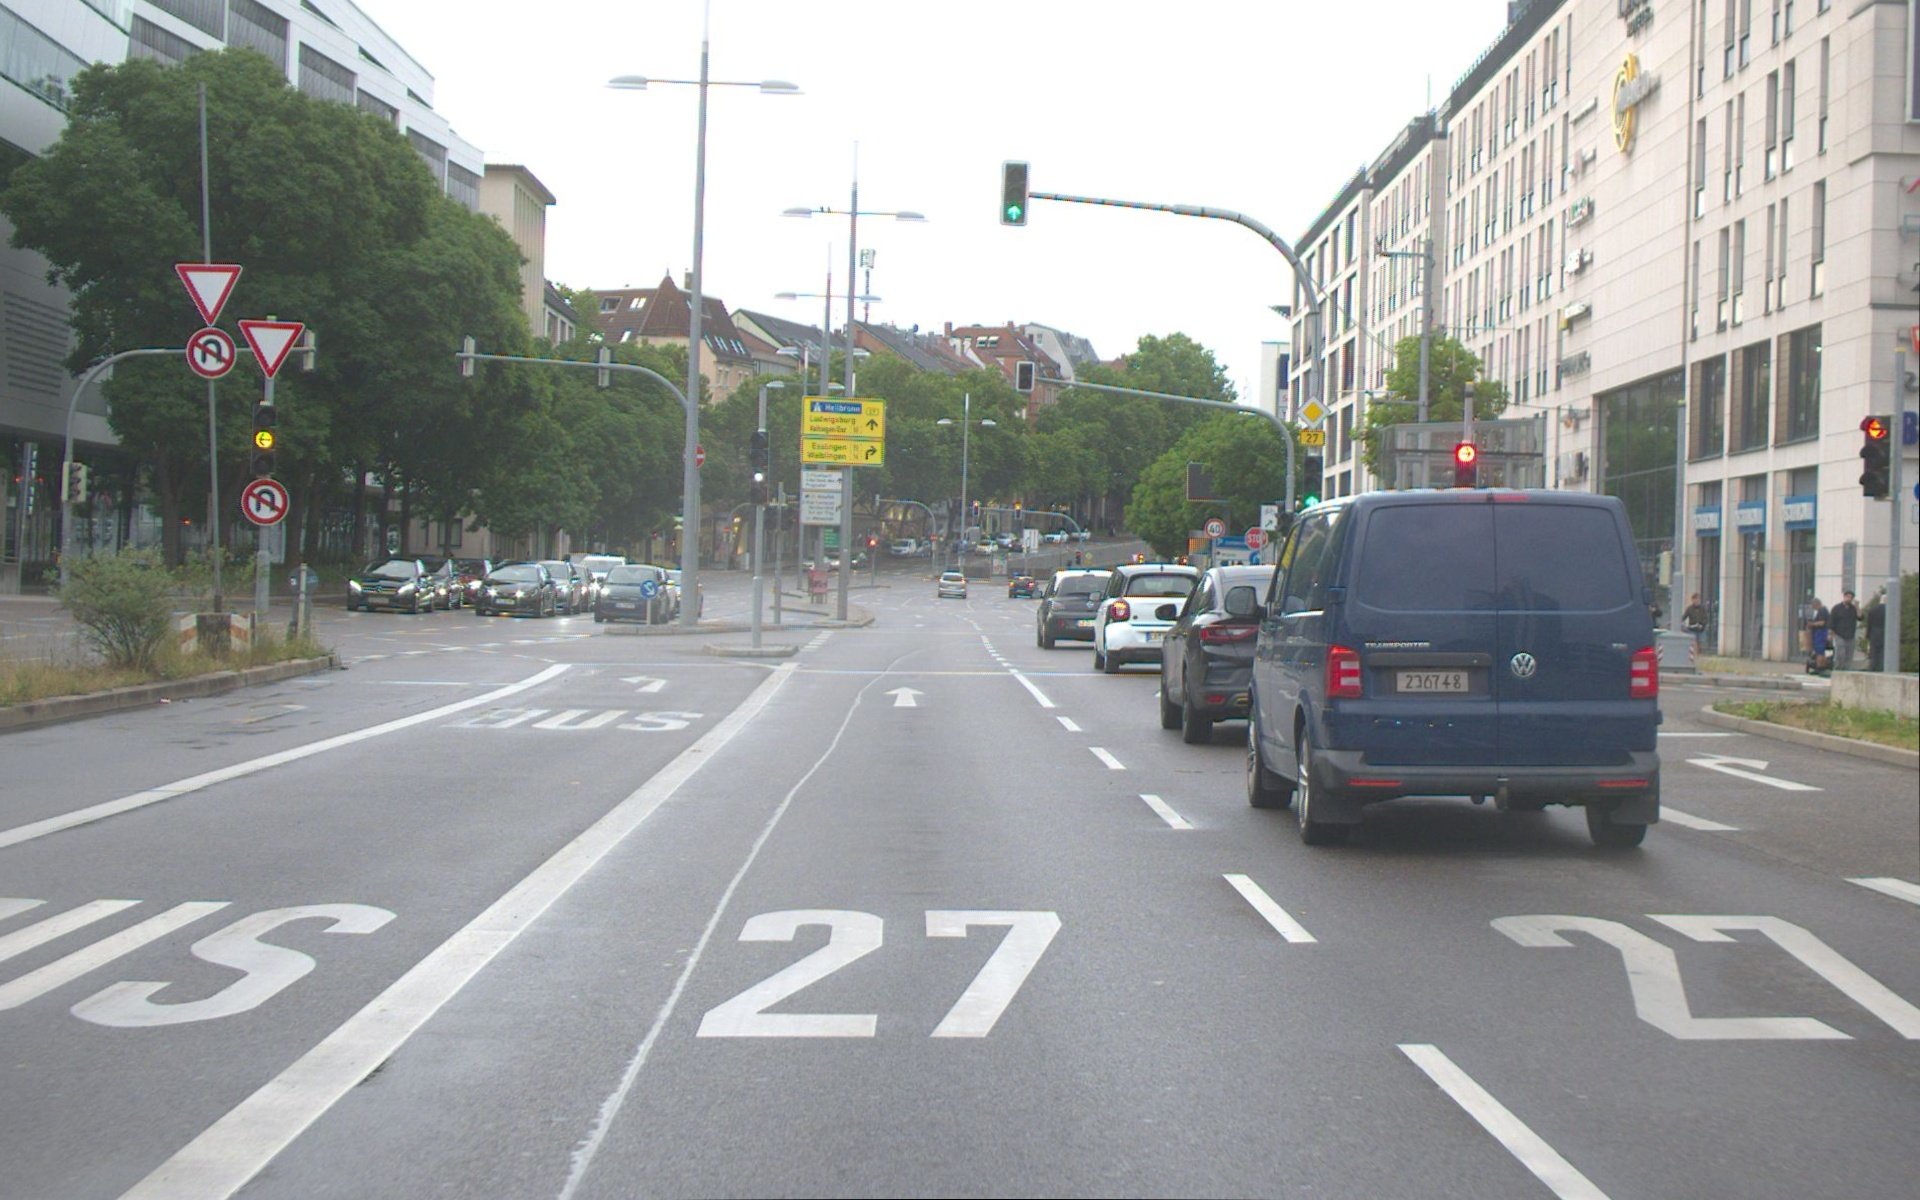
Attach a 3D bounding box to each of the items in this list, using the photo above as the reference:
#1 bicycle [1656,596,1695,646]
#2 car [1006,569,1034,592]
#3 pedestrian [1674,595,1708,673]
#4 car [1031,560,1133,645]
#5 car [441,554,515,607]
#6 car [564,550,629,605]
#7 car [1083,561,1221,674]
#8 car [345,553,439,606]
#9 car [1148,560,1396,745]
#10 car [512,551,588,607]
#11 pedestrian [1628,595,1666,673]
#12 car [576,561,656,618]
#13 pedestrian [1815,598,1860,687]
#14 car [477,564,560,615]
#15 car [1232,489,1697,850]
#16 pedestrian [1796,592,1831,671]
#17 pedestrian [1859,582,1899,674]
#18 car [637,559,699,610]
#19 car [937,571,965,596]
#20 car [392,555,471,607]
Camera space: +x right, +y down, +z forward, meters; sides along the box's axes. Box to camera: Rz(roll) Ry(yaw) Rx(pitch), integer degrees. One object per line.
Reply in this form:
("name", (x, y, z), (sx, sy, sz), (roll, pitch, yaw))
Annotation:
("bicycle", (14.870, 0.436, 71.463), (0.449, 1.012, 1.742), (1, 0, 1))
("car", (4.007, -1.294, 229.856), (1.740, 1.526, 3.814), (1, 0, 0))
("pedestrian", (15.175, 0.710, 71.366), (0.550, 1.605, 0.698), (1, 0, 0))
("car", (2.258, 0.050, 64.447), (1.740, 1.526, 3.814), (1, 0, 0))
("car", (-14.647, -0.573, 104.606), (1.743, 1.553, 3.539), (1, 0, 0))
("car", (-11.892, -0.722, 112.543), (1.743, 1.742, 3.539), (1, 0, 0))
("car", (2.694, 0.245, 48.977), (1.724, 1.526, 3.814), (1, 0, 0))
("car", (-14.920, -0.532, 90.459), (1.743, 1.324, 4.225), (1, 0, 0))
("car", (2.728, 0.414, 30.942), (1.791, 1.501, 4.339), (1, 1, 0))
("car", (-11.790, -0.595, 98.921), (1.743, 1.553, 3.539), (1, 0, 0))
("pedestrian", (14.291, 0.712, 71.560), (0.612, 1.605, 0.819), (1, 0, 0))
("car", (-9.049, -0.258, 90.588), (1.743, 1.439, 3.395), (1, 0, 0))
("pedestrian", (16.657, 0.797, 65.294), (0.621, 1.666, 0.824), (1, 0, 0))
("car", (-11.792, -0.289, 91.949), (1.743, 1.253, 3.540), (2, 1, 0))
("car", (2.816, 0.307, 20.346), (2.033, 1.875, 5.042), (0, 1, 0))
("pedestrian", (17.926, 0.666, 72.176), (0.594, 1.636, 0.587), (1, -1, 25))
("pedestrian", (17.775, 0.538, 66.496), (0.439, 1.774, 0.595), (1, -1, -28))
("car", (-8.790, -0.461, 103.812), (1.538, 1.472, 3.696), (1, 0, 0))
("car", (-0.546, -1.067, 217.421), (1.740, 1.526, 3.814), (1, 1, 0))
("car", (-15.232, -0.532, 99.205), (1.743, 1.419, 3.539), (1, 0, 0))
